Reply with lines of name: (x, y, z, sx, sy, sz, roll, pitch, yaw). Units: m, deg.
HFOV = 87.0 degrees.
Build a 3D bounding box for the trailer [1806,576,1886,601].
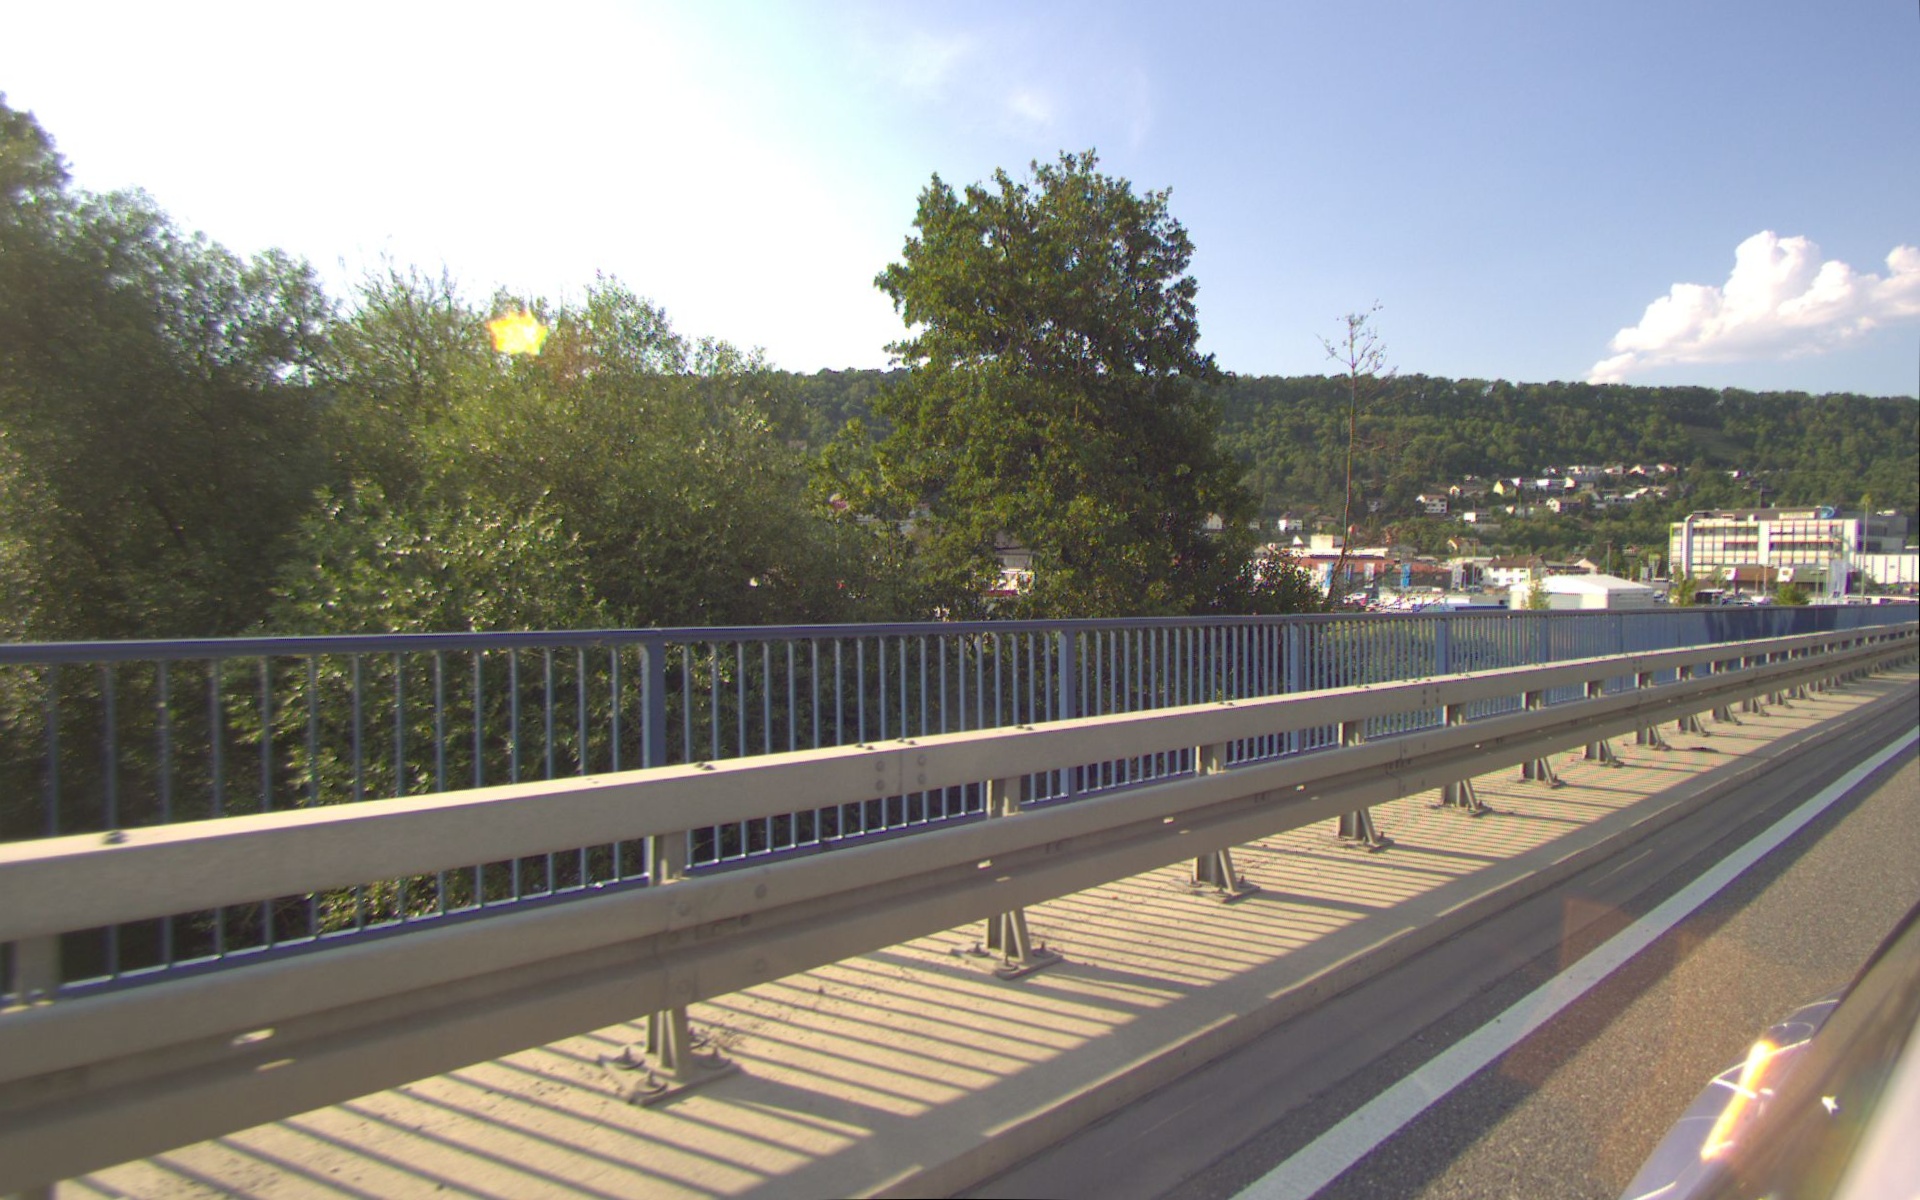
trailer: (123.592, -1.595, 141.326, 3.296, 3.364, 7.903, -2, 1, -36)
